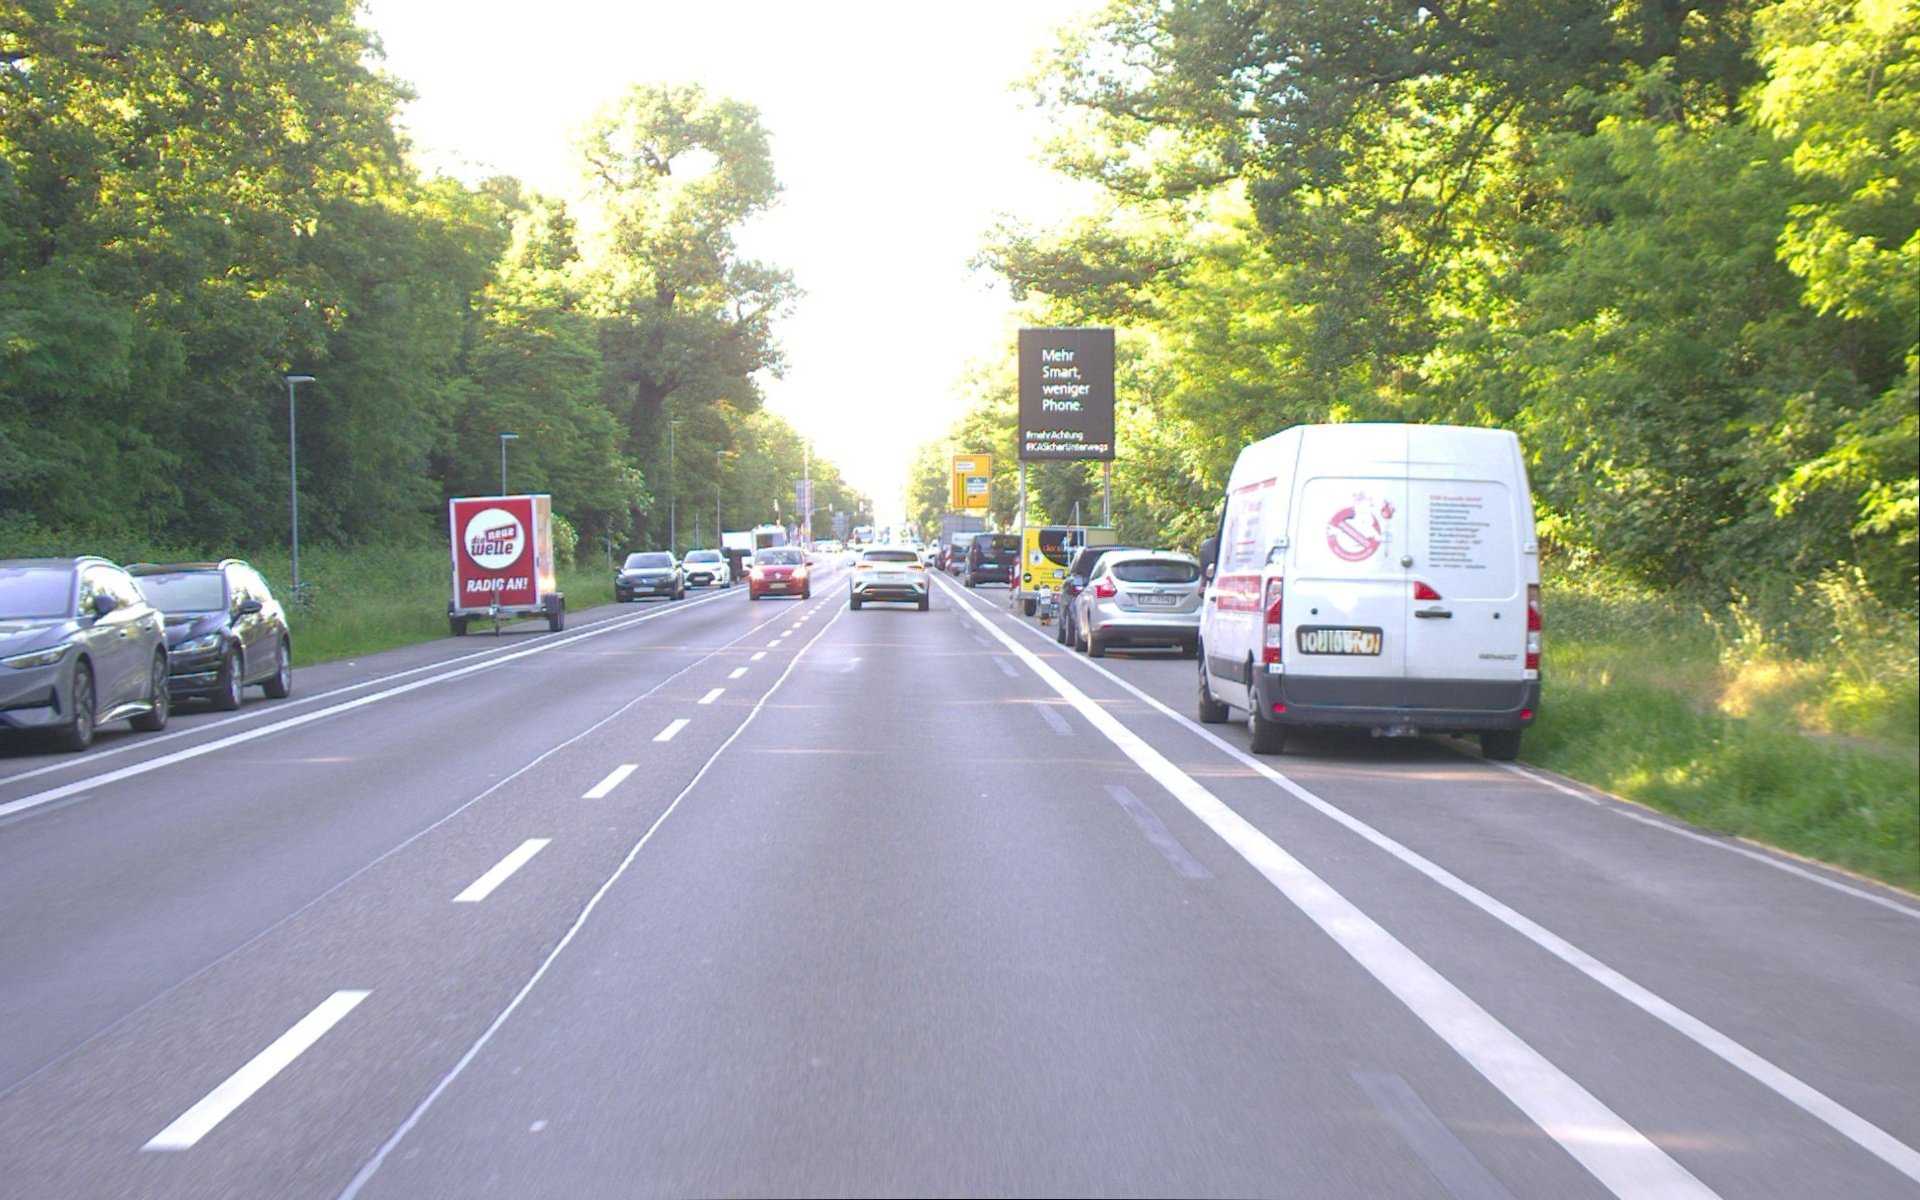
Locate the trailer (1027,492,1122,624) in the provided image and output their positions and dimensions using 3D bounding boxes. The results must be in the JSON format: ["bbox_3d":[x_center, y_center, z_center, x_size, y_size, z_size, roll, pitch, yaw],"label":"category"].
[{"bbox_3d":[2.219,-0.826,67.442,1.613,2.500,4.000,1,1,-1],"label":"trailer"}]

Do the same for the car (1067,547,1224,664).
[{"bbox_3d":[2.530,0.044,47.817,1.734,1.482,4.402,2,1,-2],"label":"car"}]

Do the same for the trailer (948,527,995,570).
[{"bbox_3d":[0.569,-2.523,169.606,1.616,2.105,2.394,1,1,20],"label":"trailer"}]

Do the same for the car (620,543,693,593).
[{"bbox_3d":[-9.085,-0.983,103.260,1.855,1.459,4.784,0,1,-1],"label":"car"}]

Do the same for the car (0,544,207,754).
[{"bbox_3d":[-7.684,0.376,28.666,1.671,1.568,5.127,-3,1,-1],"label":"car"}]

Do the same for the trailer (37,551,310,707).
[{"bbox_3d":[-7.941,0.247,35.087,1.841,1.461,4.467,0,1,-1],"label":"trailer"}]

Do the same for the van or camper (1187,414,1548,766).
[{"bbox_3d":[3.088,-0.127,27.426,2.125,2.474,6.305,0,1,0],"label":"van or camper"}]

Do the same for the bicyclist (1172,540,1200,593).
[{"bbox_3d":[5.663,-0.847,86.174,0.610,1.320,1.175,0,1,-1],"label":"bicyclist"}]

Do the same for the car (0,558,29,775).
[{"bbox_3d":[-7.440,0.523,22.219,1.671,1.490,4.194,-3,1,-1],"label":"car"}]

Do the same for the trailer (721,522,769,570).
[{"bbox_3d":[-10.696,-2.686,171.209,2.075,2.285,3.486,-1,1,1],"label":"trailer"}]

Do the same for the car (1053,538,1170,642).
[{"bbox_3d":[2.320,-0.176,53.164,1.586,1.525,3.011,1,1,-1],"label":"car"}]

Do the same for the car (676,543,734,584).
[{"bbox_3d":[-9.648,-1.400,130.205,1.867,1.445,4.071,-3,1,-1],"label":"car"}]

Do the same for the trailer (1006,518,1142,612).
[{"bbox_3d":[2.548,-0.790,75.841,1.964,2.016,3.840,0,1,19],"label":"trailer"}]

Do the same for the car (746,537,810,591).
[{"bbox_3d":[-5.035,-1.013,95.445,1.604,1.416,3.519,-2,1,-1],"label":"car"}]

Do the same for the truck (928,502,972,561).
[{"bbox_3d":[-0.591,-3.951,199.459,2.505,3.355,7.108,1,1,0],"label":"truck"}]

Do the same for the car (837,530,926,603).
[{"bbox_3d":[-1.819,-0.791,80.060,1.993,1.634,4.000,-1,1,-1],"label":"car"}]

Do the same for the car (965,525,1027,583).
[{"bbox_3d":[1.293,-1.684,125.420,2.113,2.007,5.040,2,1,-1],"label":"car"}]

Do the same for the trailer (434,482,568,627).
[{"bbox_3d":[-8.583,-0.863,64.599,1.993,2.612,4.086,0,1,-1],"label":"trailer"}]
